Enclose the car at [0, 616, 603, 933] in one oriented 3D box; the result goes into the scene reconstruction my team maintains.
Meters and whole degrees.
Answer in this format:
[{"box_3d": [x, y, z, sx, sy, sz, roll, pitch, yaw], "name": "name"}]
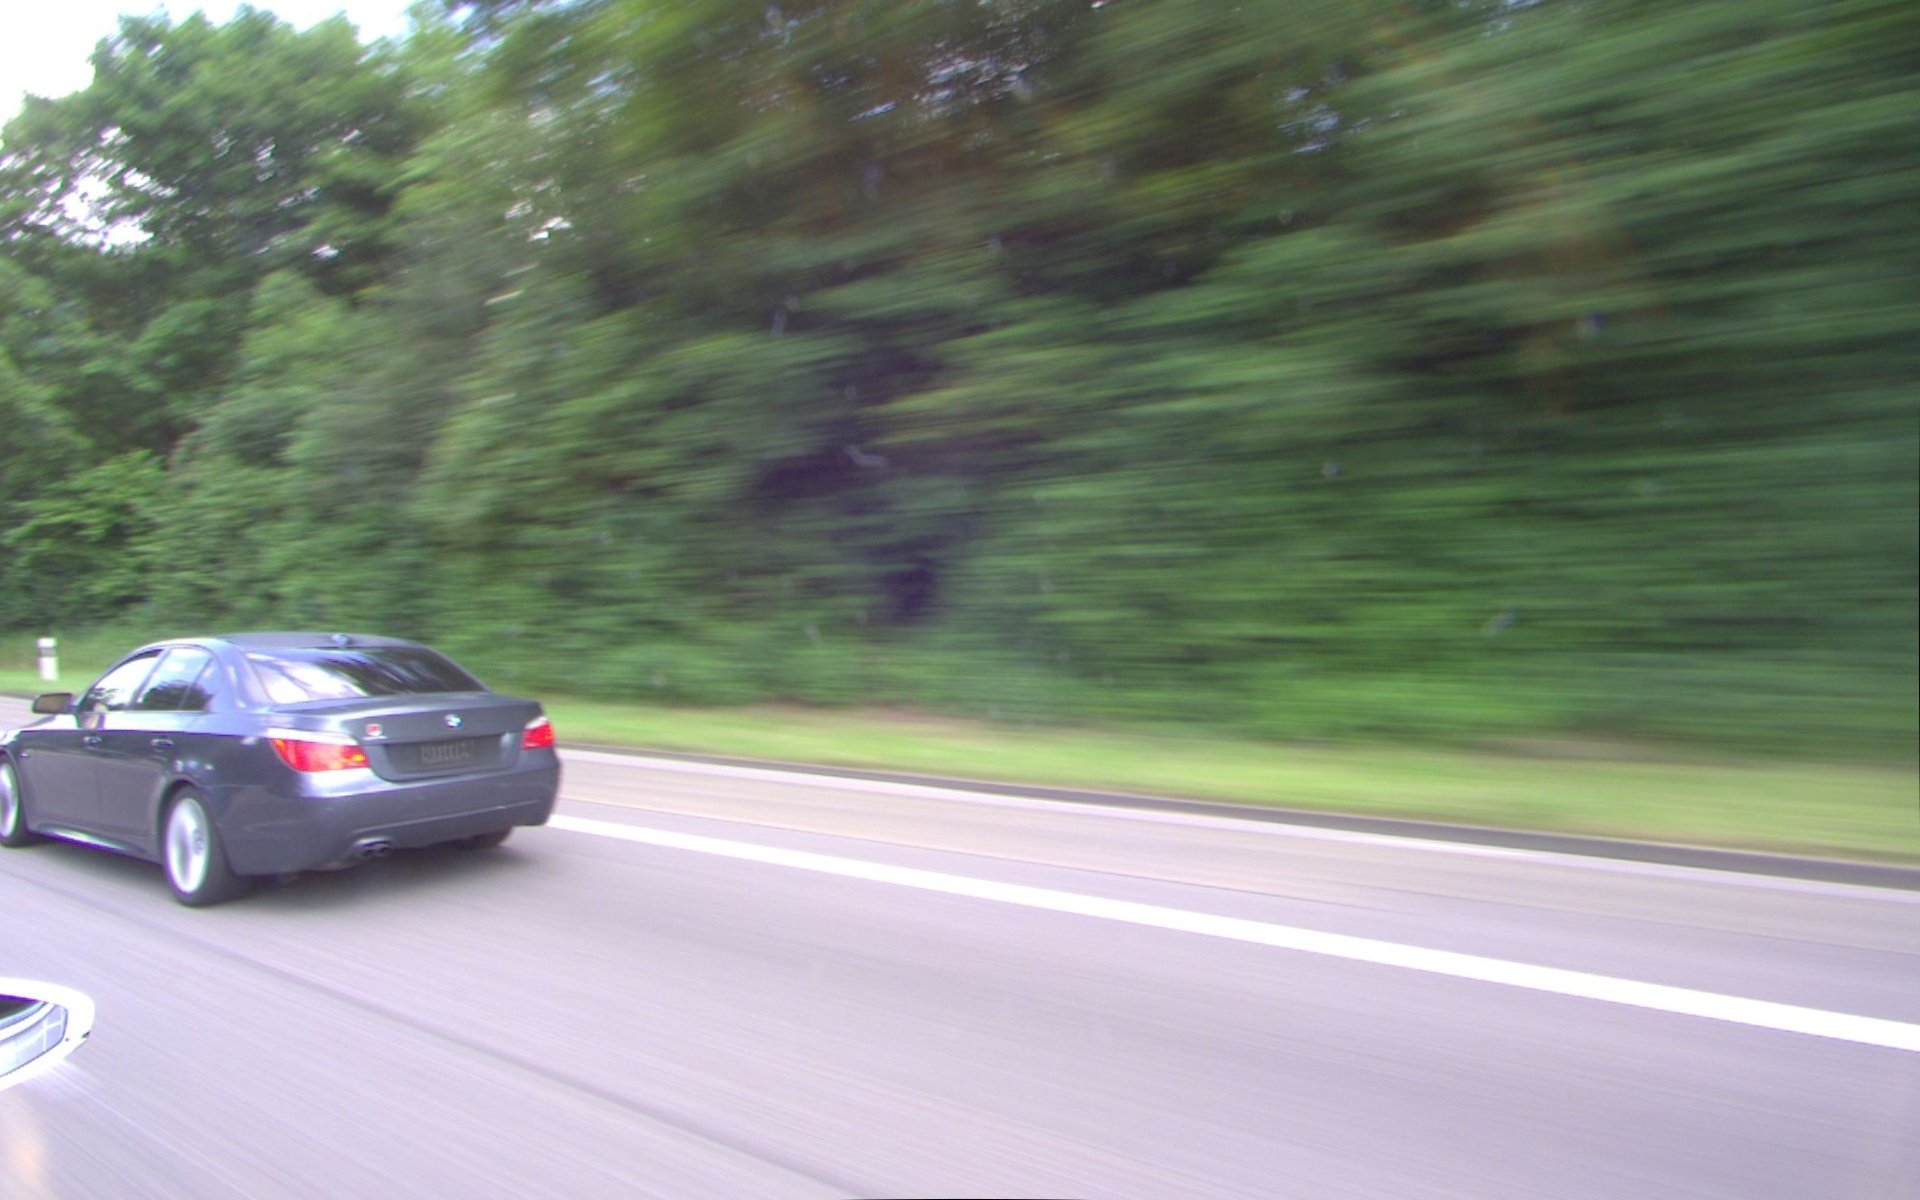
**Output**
[{"box_3d": [-4.732, 0.883, 6.766, 4.810, 1.494, 1.771, -1, -2, 32], "name": "car"}]
